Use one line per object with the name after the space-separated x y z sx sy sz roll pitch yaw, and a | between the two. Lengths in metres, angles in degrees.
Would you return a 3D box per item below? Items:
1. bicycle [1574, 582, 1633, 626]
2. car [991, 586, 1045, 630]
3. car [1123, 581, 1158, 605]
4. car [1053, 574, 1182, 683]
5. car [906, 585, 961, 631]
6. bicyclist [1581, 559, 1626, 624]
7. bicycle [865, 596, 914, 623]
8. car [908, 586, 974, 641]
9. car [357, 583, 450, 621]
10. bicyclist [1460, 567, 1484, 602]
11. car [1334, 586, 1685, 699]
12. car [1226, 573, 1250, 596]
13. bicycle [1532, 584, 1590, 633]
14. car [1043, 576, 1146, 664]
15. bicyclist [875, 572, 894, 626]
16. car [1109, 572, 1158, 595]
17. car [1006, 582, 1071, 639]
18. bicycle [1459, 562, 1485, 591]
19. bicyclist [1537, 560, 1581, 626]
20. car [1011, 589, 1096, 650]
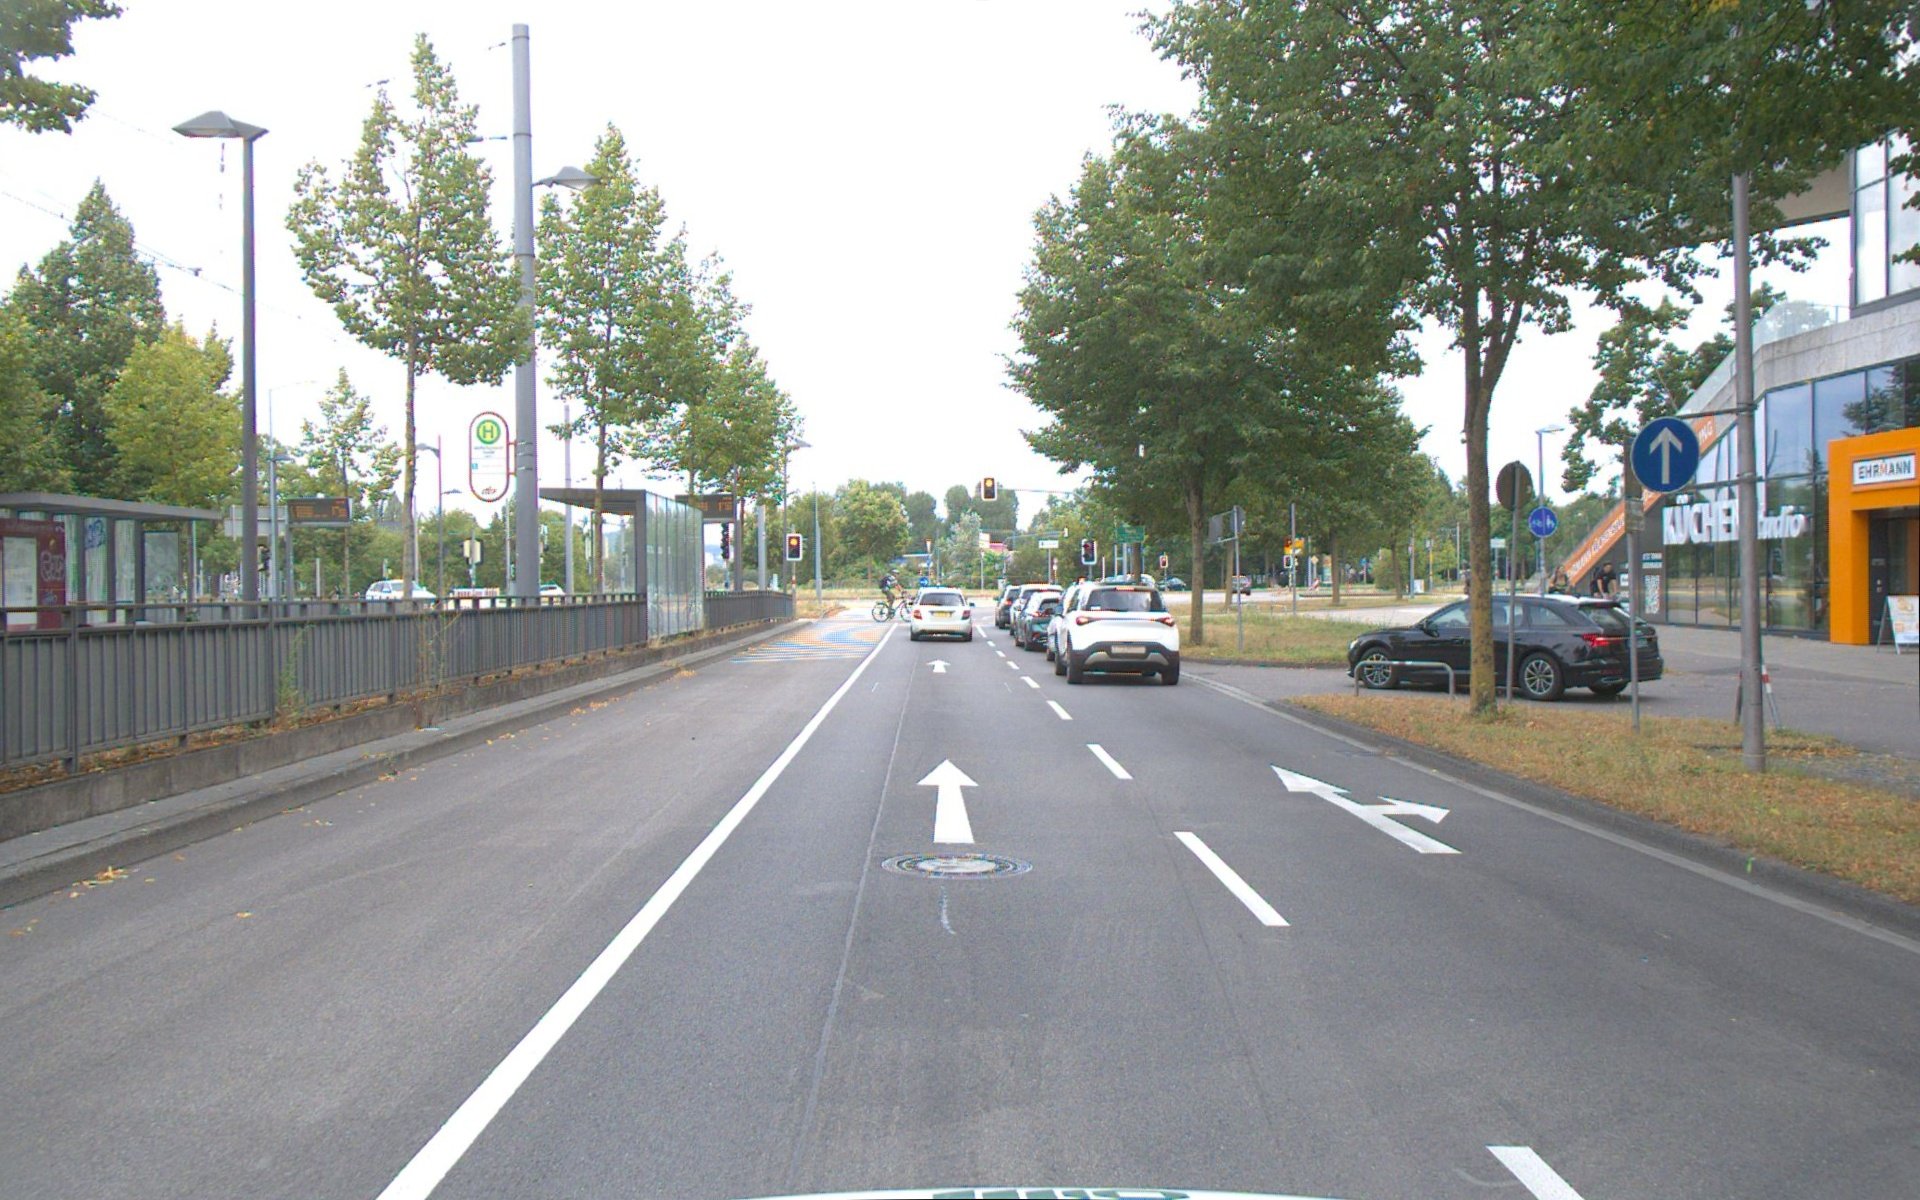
16.024 0.078 41.217 0.659 1.060 2.007 -1 0 -1 | bicycle
2.005 0.270 58.375 1.592 1.474 3.908 1 1 -3 | car
14.323 -0.570 131.652 1.955 1.822 3.995 2 0 -6 | car
2.596 0.428 28.101 1.742 1.685 4.023 -1 1 -1 | car
-0.916 0.251 55.581 1.738 1.474 3.908 1 1 -3 | car
16.012 -0.217 41.199 0.710 1.610 0.989 -1 0 -1 | bicyclist
-2.730 0.358 64.143 1.895 1.001 0.564 1 0 -2 | bicycle
-0.576 0.352 47.290 1.738 1.474 3.908 1 1 -3 | car
-25.429 0.085 75.526 4.299 1.646 1.992 0 1 37 | car
27.571 -0.840 89.067 0.849 1.820 1.174 -1 0 -2 | bicyclist
8.077 0.568 24.746 1.925 1.501 4.809 -1 1 -35 | car
21.254 -1.182 126.523 1.745 1.664 4.406 -1 1 9 | car
14.786 0.189 40.732 0.659 1.163 2.007 -1 1 -1 | bicycle
2.734 0.372 34.426 1.742 1.685 4.023 -1 1 -1 | car
-2.833 -0.046 62.096 0.714 1.917 0.734 -1 6 -3 | bicyclist
16.105 -1.526 153.343 1.964 2.049 4.970 0 1 42 | car
2.354 0.295 50.579 1.751 1.653 3.910 -1 1 -1 | car
27.561 -1.257 89.039 0.691 1.532 2.006 1 0 -2 | bicycle
14.772 -0.180 40.811 0.710 1.610 0.989 -1 0 -1 | bicyclist
2.354 0.467 42.587 1.751 1.457 4.308 0 1 -3 | car
